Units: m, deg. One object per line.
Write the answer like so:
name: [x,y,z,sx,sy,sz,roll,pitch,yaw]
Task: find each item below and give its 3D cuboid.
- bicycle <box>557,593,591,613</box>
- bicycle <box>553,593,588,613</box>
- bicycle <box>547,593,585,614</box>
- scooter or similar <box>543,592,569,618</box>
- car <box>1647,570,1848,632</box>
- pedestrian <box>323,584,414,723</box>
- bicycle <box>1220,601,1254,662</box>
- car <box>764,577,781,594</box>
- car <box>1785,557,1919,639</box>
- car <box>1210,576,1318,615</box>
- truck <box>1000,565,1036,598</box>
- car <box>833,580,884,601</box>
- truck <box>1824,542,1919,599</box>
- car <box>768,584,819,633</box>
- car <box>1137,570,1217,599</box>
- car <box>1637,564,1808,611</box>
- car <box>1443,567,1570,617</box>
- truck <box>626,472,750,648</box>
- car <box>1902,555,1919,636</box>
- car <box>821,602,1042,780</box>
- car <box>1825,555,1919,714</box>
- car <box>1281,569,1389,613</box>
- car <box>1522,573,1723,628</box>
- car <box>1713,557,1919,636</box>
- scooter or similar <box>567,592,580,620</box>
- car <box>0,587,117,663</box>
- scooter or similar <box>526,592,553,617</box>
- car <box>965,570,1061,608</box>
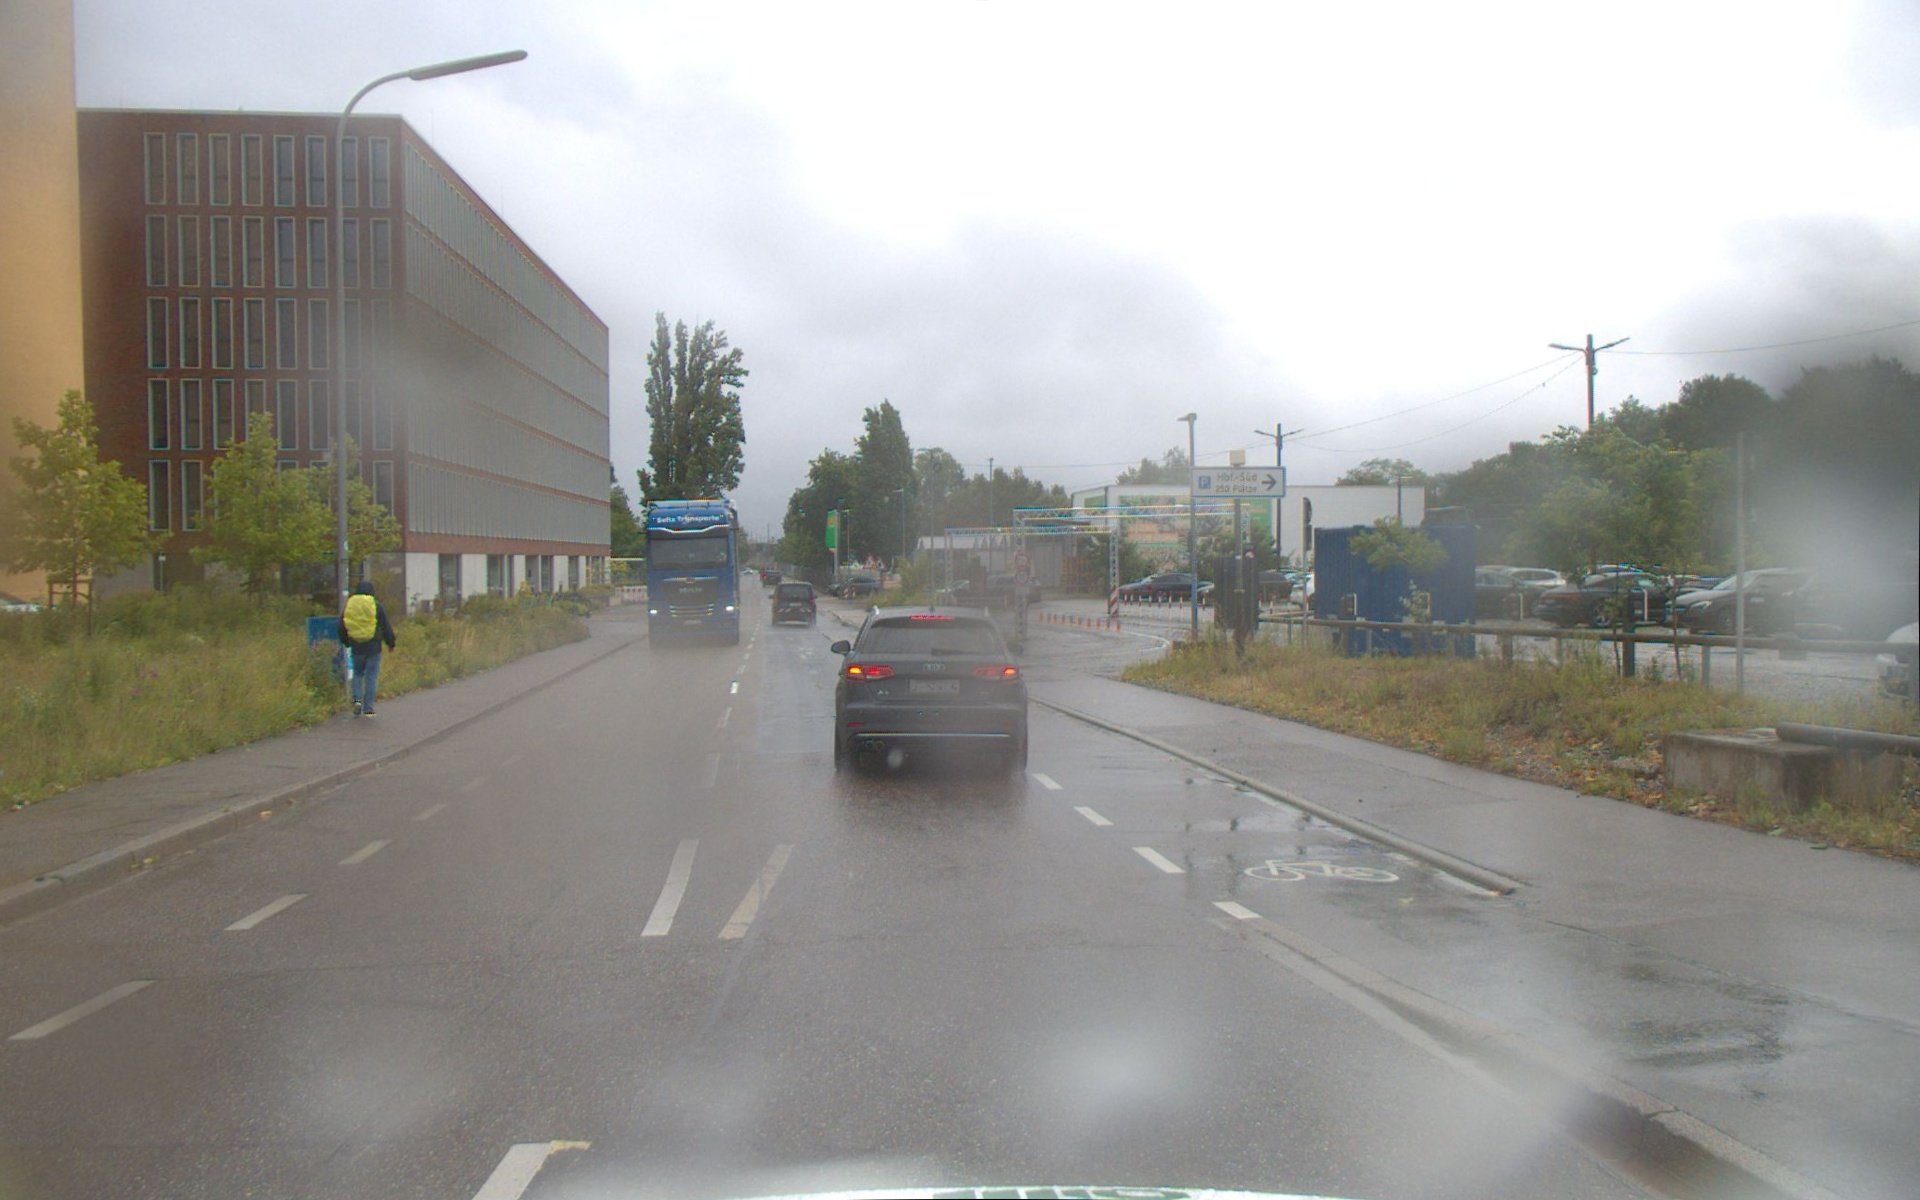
bicycle: [-21.629,0.150,92.654,1.824,1.096,0.543,1,0,-9]
bicycle: [-21.611,0.155,91.787,1.824,1.096,0.543,1,0,-9]
bicycle: [-21.265,0.173,89.347,1.912,1.096,0.619,1,0,-9]
scooter or similar: [-19.499,0.234,79.819,0.458,1.251,1.204,-1,1,35]
car: [18.051,0.027,38.015,3.810,1.242,1.647,-2,0,-2]
pedestrian: [-7.663,0.675,21.469,0.891,1.748,1.025,-1,0,-7]
bicycle: [5.301,0.583,31.584,0.496,1.103,1.704,-1,1,14]
car: [-20.011,-1.555,176.712,1.696,1.716,3.894,-1,0,-5]
car: [18.766,-0.077,32.809,3.875,1.516,1.868,-2,0,-5]
car: [14.112,-0.198,76.840,4.539,1.746,2.012,0,-1,-13]
truck: [4.911,-1.603,140.659,2.255,2.705,7.411,-2,1,-4]
car: [-8.026,-0.721,130.680,4.055,1.596,1.763,0,0,-5]
truck: [41.243,-1.312,74.002,2.033,2.443,5.076,-1,1,-7]
car: [-6.985,0.323,69.026,1.956,1.943,4.193,-1,1,-8]
car: [11.550,-0.809,88.175,3.910,1.511,1.997,0,-1,-6]
car: [21.307,-0.341,46.307,3.986,1.090,1.828,-3,0,-9]
car: [20.124,-0.293,60.976,3.983,1.633,1.924,-3,0,-6]
truck: [-7.813,-1.139,47.891,3.233,4.735,6.021,-1,1,-9]
car: [19.915,-0.155,30.686,3.875,1.516,1.776,-2,0,-5]
car: [-0.286,0.772,16.107,1.856,1.482,4.226,1,0,-1]
car: [10.313,0.314,15.316,3.702,1.418,1.901,0,-1,-10]
car: [14.843,-0.335,65.574,3.755,1.510,1.926,-3,0,-4]
car: [17.289,0.012,43.260,4.502,1.242,1.975,-2,0,-8]
car: [18.471,-0.075,35.343,3.875,1.516,1.868,-2,0,-5]
scooter or similar: [-17.939,0.269,76.771,0.457,1.251,1.318,-1,1,-10]
car: [-22.073,0.574,37.916,4.439,1.670,1.995,-1,0,-10]
scooter or similar: [-20.984,0.208,82.566,1.201,1.229,0.417,-1,1,0]
car: [2.606,-0.544,82.554,4.587,1.765,2.127,-1,0,-3]
